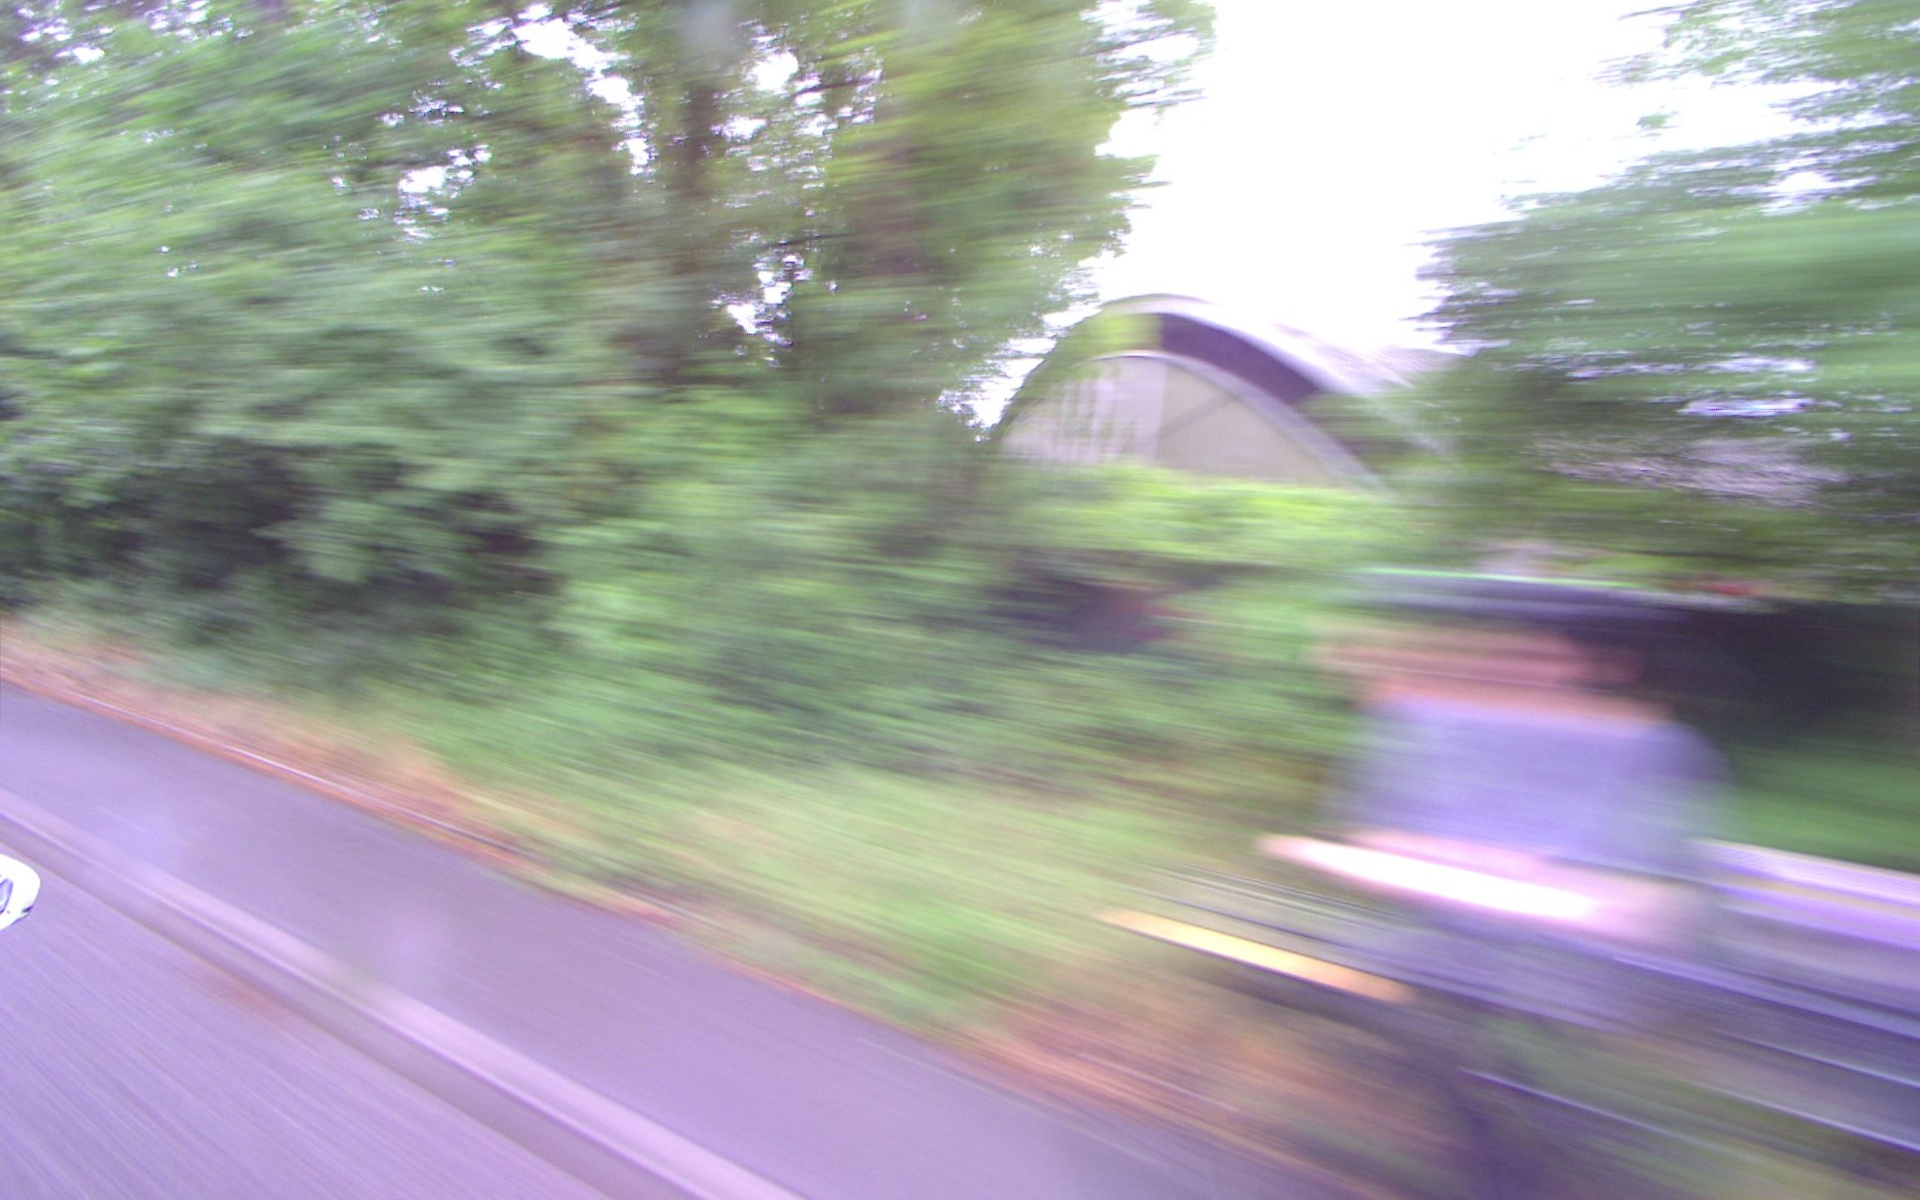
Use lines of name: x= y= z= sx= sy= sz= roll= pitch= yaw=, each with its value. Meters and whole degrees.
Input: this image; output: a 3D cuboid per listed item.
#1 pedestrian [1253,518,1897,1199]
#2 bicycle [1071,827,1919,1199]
pedestrian: x=0.984 y=0.698 z=1.732 sx=0.757 sy=1.595 sz=0.565 roll=3 pitch=-2 yaw=32
bicycle: x=1.124 y=1.108 z=2.091 sx=1.714 sy=0.860 sz=0.356 roll=7 pitch=2 yaw=32
